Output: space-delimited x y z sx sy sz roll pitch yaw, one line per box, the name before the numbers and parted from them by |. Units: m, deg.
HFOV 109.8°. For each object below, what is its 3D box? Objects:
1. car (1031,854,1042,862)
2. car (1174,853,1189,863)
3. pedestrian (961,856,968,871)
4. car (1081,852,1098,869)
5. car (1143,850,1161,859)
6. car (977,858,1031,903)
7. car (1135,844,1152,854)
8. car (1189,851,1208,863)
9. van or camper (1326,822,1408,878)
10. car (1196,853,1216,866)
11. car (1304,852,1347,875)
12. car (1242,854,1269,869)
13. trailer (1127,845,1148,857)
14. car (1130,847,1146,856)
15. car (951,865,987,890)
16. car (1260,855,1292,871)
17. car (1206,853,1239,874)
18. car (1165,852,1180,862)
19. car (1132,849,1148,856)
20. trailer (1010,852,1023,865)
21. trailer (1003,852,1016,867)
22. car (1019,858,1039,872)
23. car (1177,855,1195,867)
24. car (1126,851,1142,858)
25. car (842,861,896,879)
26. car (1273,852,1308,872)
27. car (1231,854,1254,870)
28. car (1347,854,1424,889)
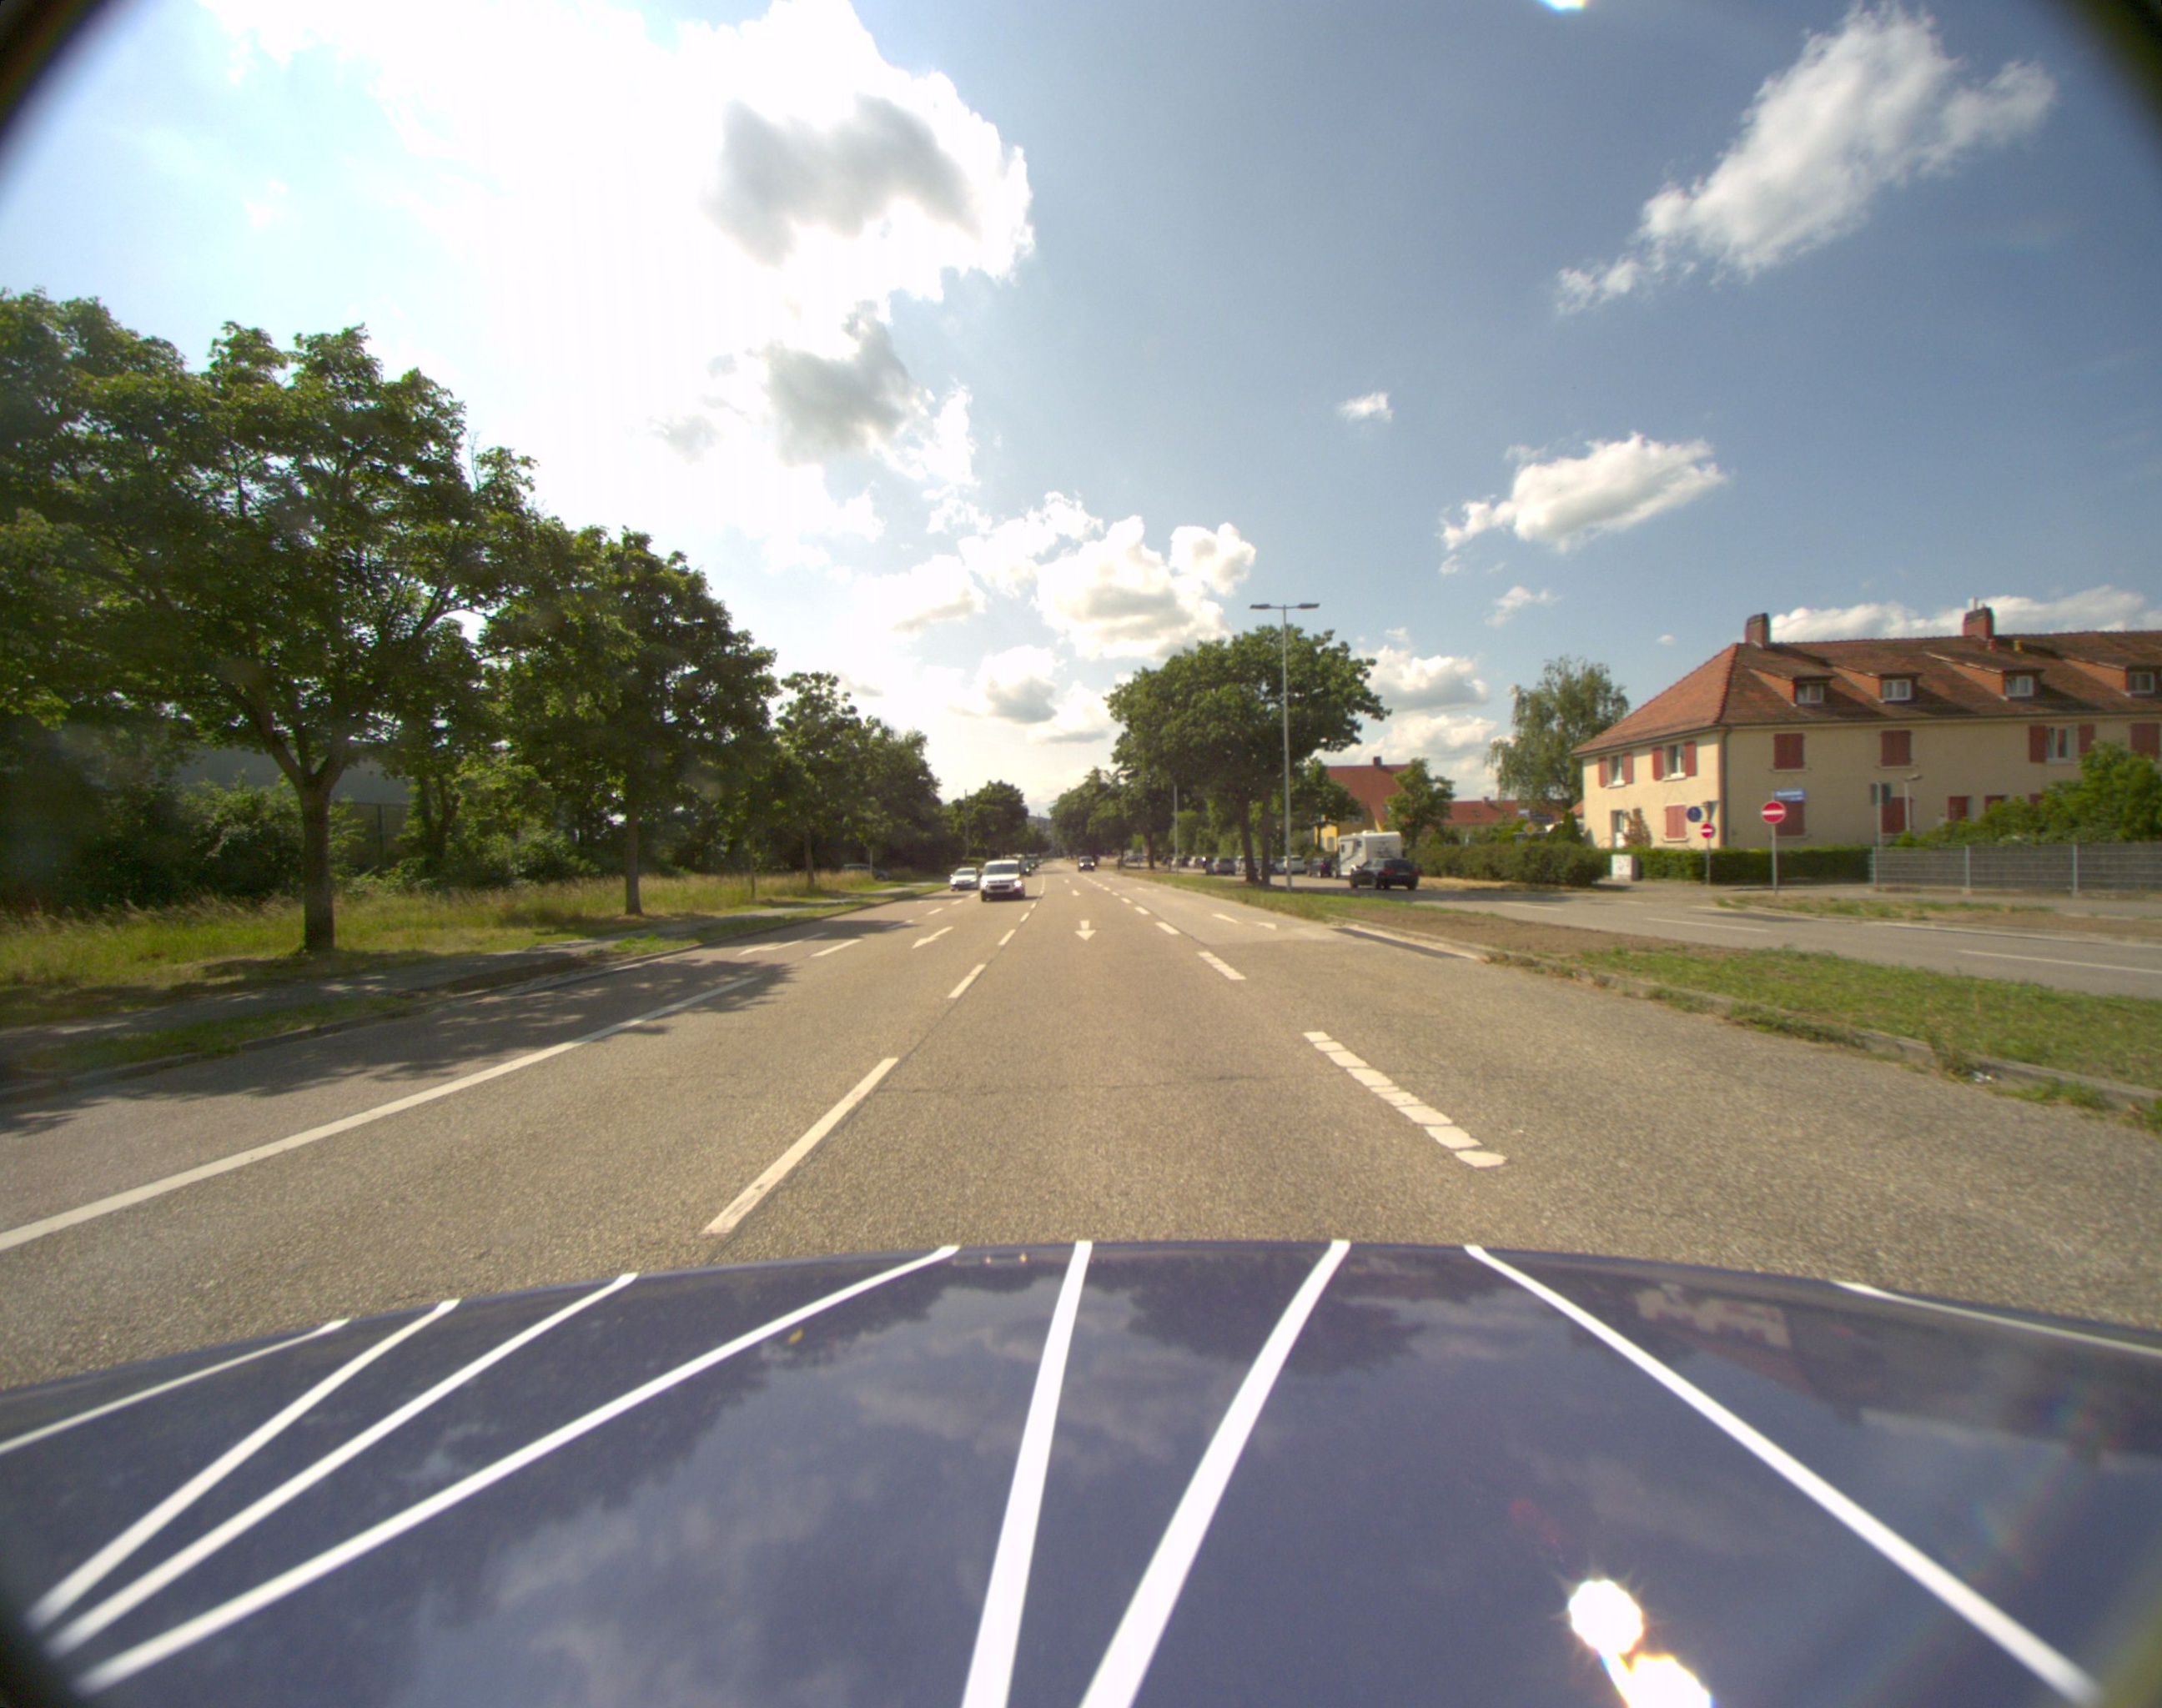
car | -8.369 0.785 142.227 1.892 1.281 3.998 -4 1 -3
car | 15.735 0.619 119.264 1.598 1.453 3.533 -4 1 -3
pedestrian | -14.486 1.163 94.265 0.719 1.783 0.739 -4 1 -3
car | 1.009 0.734 89.548 1.768 1.893 4.540 -4 1 -1
car | 16.146 0.034 172.744 1.800 1.849 4.008 -3 0 45
car | -3.419 1.143 34.511 1.936 1.774 4.715 -4 0 -1
car | 15.099 -1.163 182.875 1.800 2.002 4.007 -2 2 45
car | 16.273 0.425 105.479 1.665 1.443 3.845 -4 1 -3
van or camper | 17.710 -0.212 47.591 2.264 3.093 7.320 -4 0 0
car | 16.162 0.684 98.280 1.665 1.473 4.102 -4 0 -3
car | 17.481 0.667 54.504 1.640 1.477 3.991 -4 1 0
car | 17.173 0.734 74.883 1.514 1.362 4.531 -4 0 0
trailer | 15.403 -0.826 207.827 2.821 3.090 5.764 -4 0 36
car | 14.278 -0.649 190.932 1.800 2.002 4.007 -2 2 45
car | -7.421 1.543 50.660 1.737 1.477 4.092 -2 0 1
car | 17.369 0.785 67.925 1.640 1.298 4.584 -4 0 0
car | 11.467 0.757 61.786 1.737 1.499 4.651 2 1 -1
car | 15.575 0.473 129.942 1.772 1.543 3.998 -4 1 -3
car | 14.650 -0.345 188.685 1.569 1.390 4.007 -2 1 45
trailer | -12.092 0.776 142.635 1.999 2.352 4.780 2 1 -2
trailer | -11.398 0.924 121.826 1.958 2.338 4.604 0 1 -4
car | -5.467 1.155 80.198 1.892 1.281 3.998 -4 1 -3
car | 15.601 0.960 112.902 1.665 1.603 4.312 -4 1 -3
car | 13.685 0.222 195.740 3.997 1.502 1.799 -4 1 -2
car | -18.021 1.391 64.651 4.175 1.484 1.784 1 -2 -6
car | 17.344 0.654 63.057 1.693 1.477 4.123 -4 1 0
car | 16.973 0.769 79.788 1.406 1.548 3.741 -4 0 -2
car | 13.699 0.751 34.482 1.776 1.430 4.576 -1 1 2
